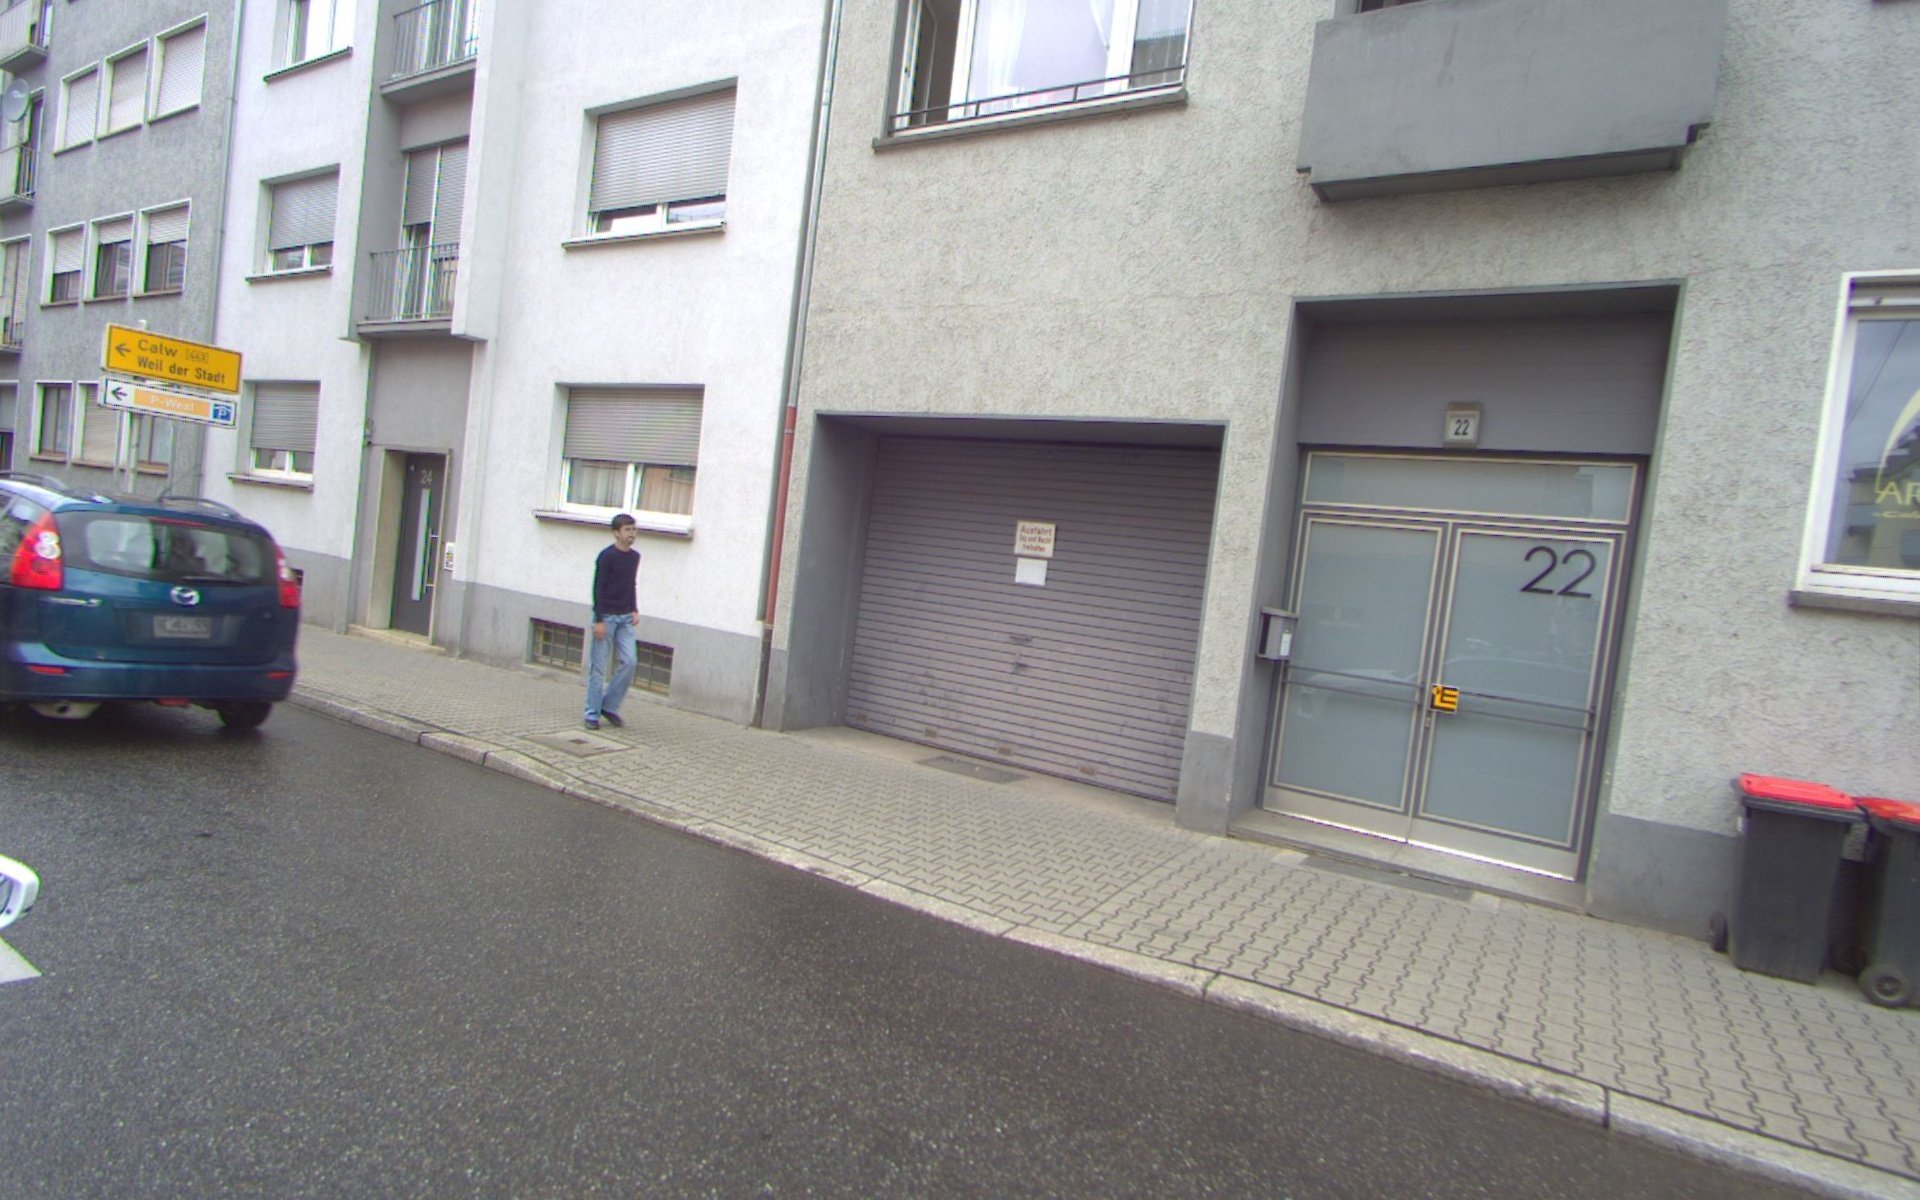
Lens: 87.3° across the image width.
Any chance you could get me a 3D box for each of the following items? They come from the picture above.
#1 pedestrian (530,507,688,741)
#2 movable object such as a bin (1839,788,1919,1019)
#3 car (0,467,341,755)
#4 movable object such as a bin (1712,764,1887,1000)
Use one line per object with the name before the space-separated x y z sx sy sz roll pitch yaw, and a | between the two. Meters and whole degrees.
pedestrian | -2.959 0.179 8.470 1.039 1.802 0.643 7 4 31
movable object such as a bin | 4.640 1.454 4.785 0.507 0.963 0.539 7 4 32
car | -6.687 -0.050 7.540 4.144 1.625 1.810 7 -1 34
movable object such as a bin | 4.208 1.388 5.083 0.507 0.969 0.539 7 4 32
